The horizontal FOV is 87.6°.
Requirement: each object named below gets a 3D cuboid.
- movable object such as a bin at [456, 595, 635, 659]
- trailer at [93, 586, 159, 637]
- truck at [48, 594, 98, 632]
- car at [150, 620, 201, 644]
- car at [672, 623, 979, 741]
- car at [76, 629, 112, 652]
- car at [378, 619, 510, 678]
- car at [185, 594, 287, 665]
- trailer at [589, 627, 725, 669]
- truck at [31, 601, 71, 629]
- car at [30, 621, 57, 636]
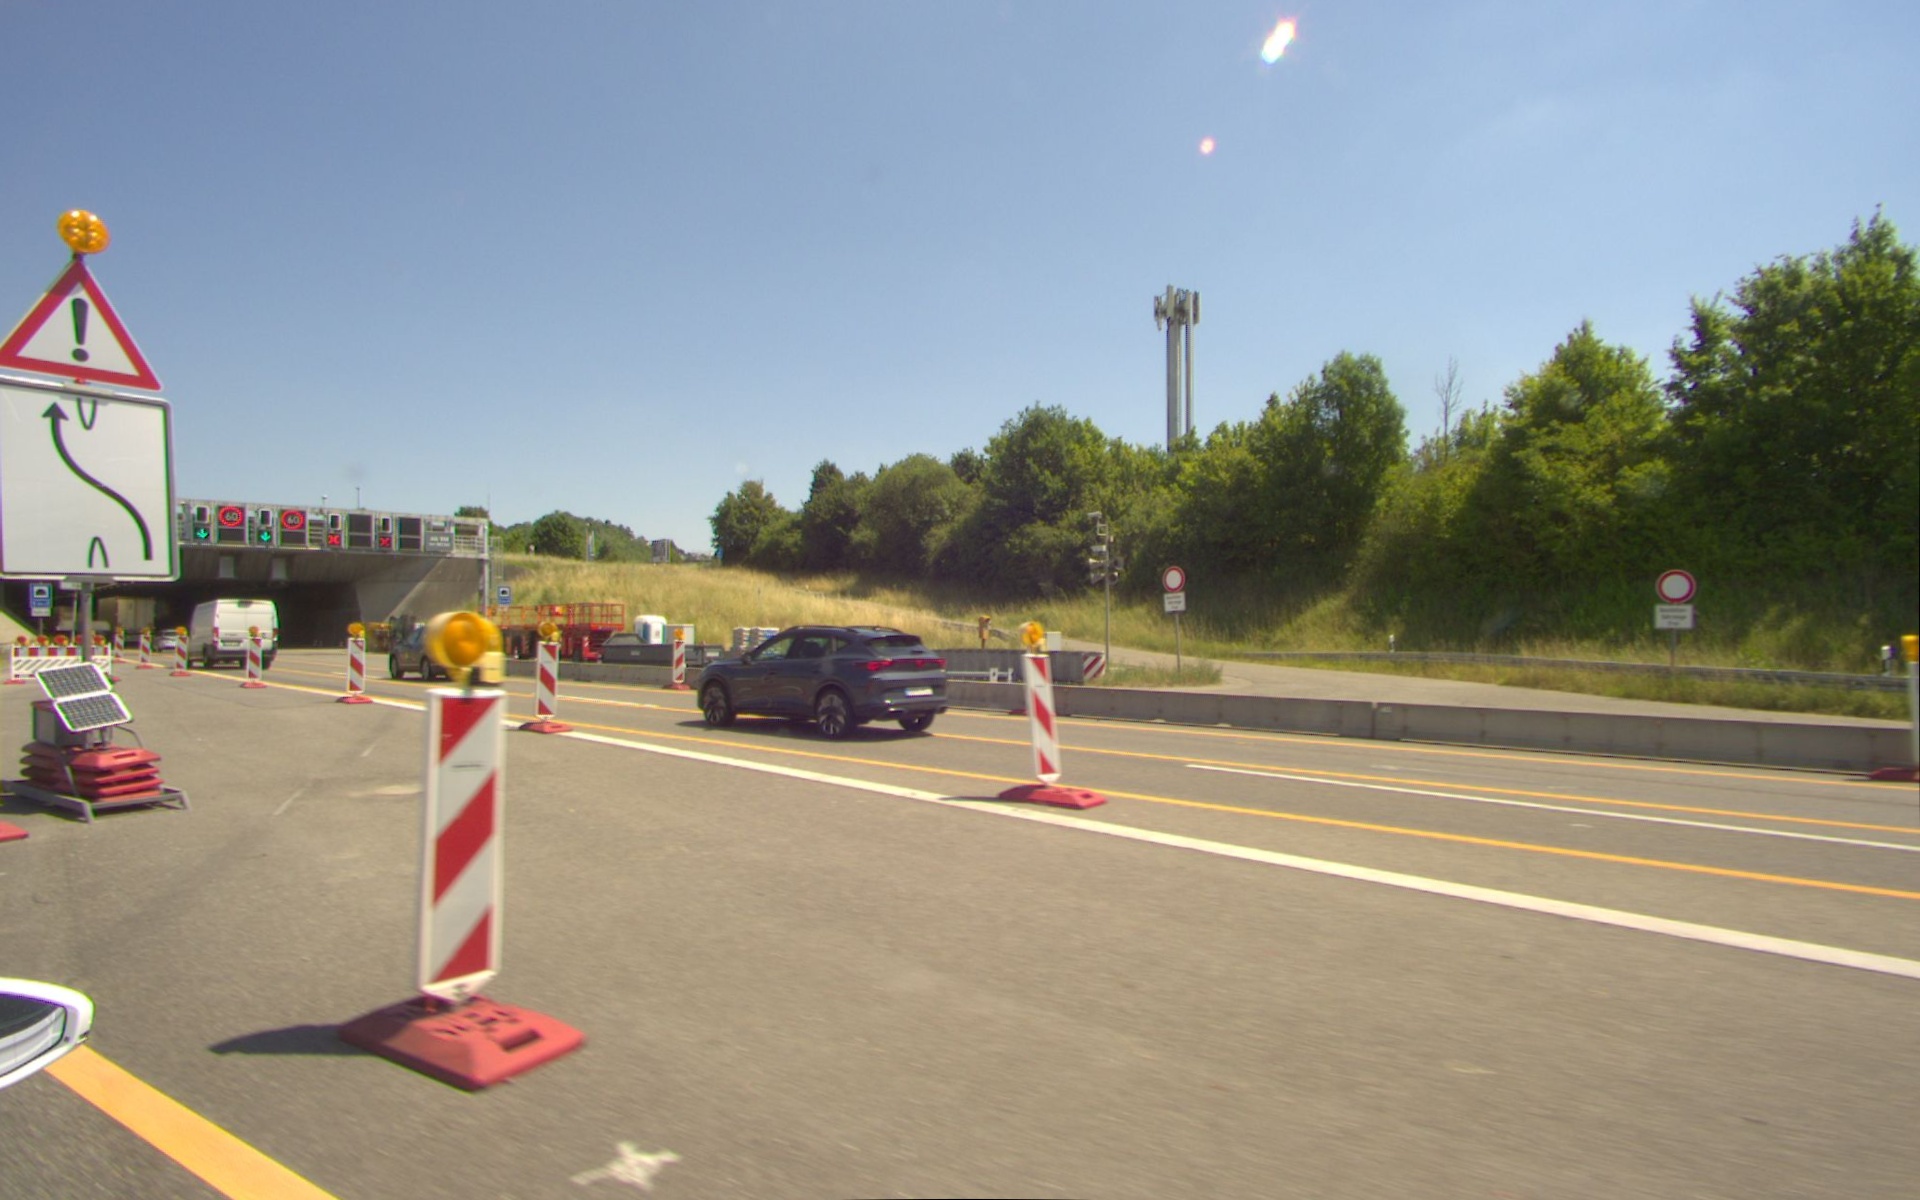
[{"bbox_3d":[-22.585,1.456,53.751,14.543,3.050,3.094,-2,0,43],"label":"movable object such as a bin"},{"bbox_3d":[-73.335,1.187,87.922,13.947,4.113,2.718,-2,-3,43],"label":"trailer"},{"bbox_3d":[-118.095,1.837,133.242,16.363,4.388,3.384,-3,-4,43],"label":"truck"},{"bbox_3d":[-52.146,2.144,66.549,4.599,1.483,1.807,-2,-3,41],"label":"car"},{"bbox_3d":[-2.130,1.131,15.036,4.622,1.505,1.985,-1,-2,40],"label":"car"},{"bbox_3d":[-64.117,3.014,74.123,1.803,1.663,4.609,2,-3,-43],"label":"car"},{"bbox_3d":[-15.965,1.477,30.875,5.181,1.683,2.008,-2,-3,43],"label":"car"},{"bbox_3d":[-28.646,1.195,39.518,2.252,2.568,6.519,1,-3,-45],"label":"car"},{"bbox_3d":[-13.039,2.004,42.941,6.160,1.589,2.583,-1,0,39],"label":"trailer"},{"bbox_3d":[-146.768,2.588,161.534,16.361,4.122,3.384,-2,-3,43],"label":"truck"},{"bbox_3d":[-110.904,3.467,121.162,4.141,1.650,1.808,-2,-3,40],"label":"car"}]
